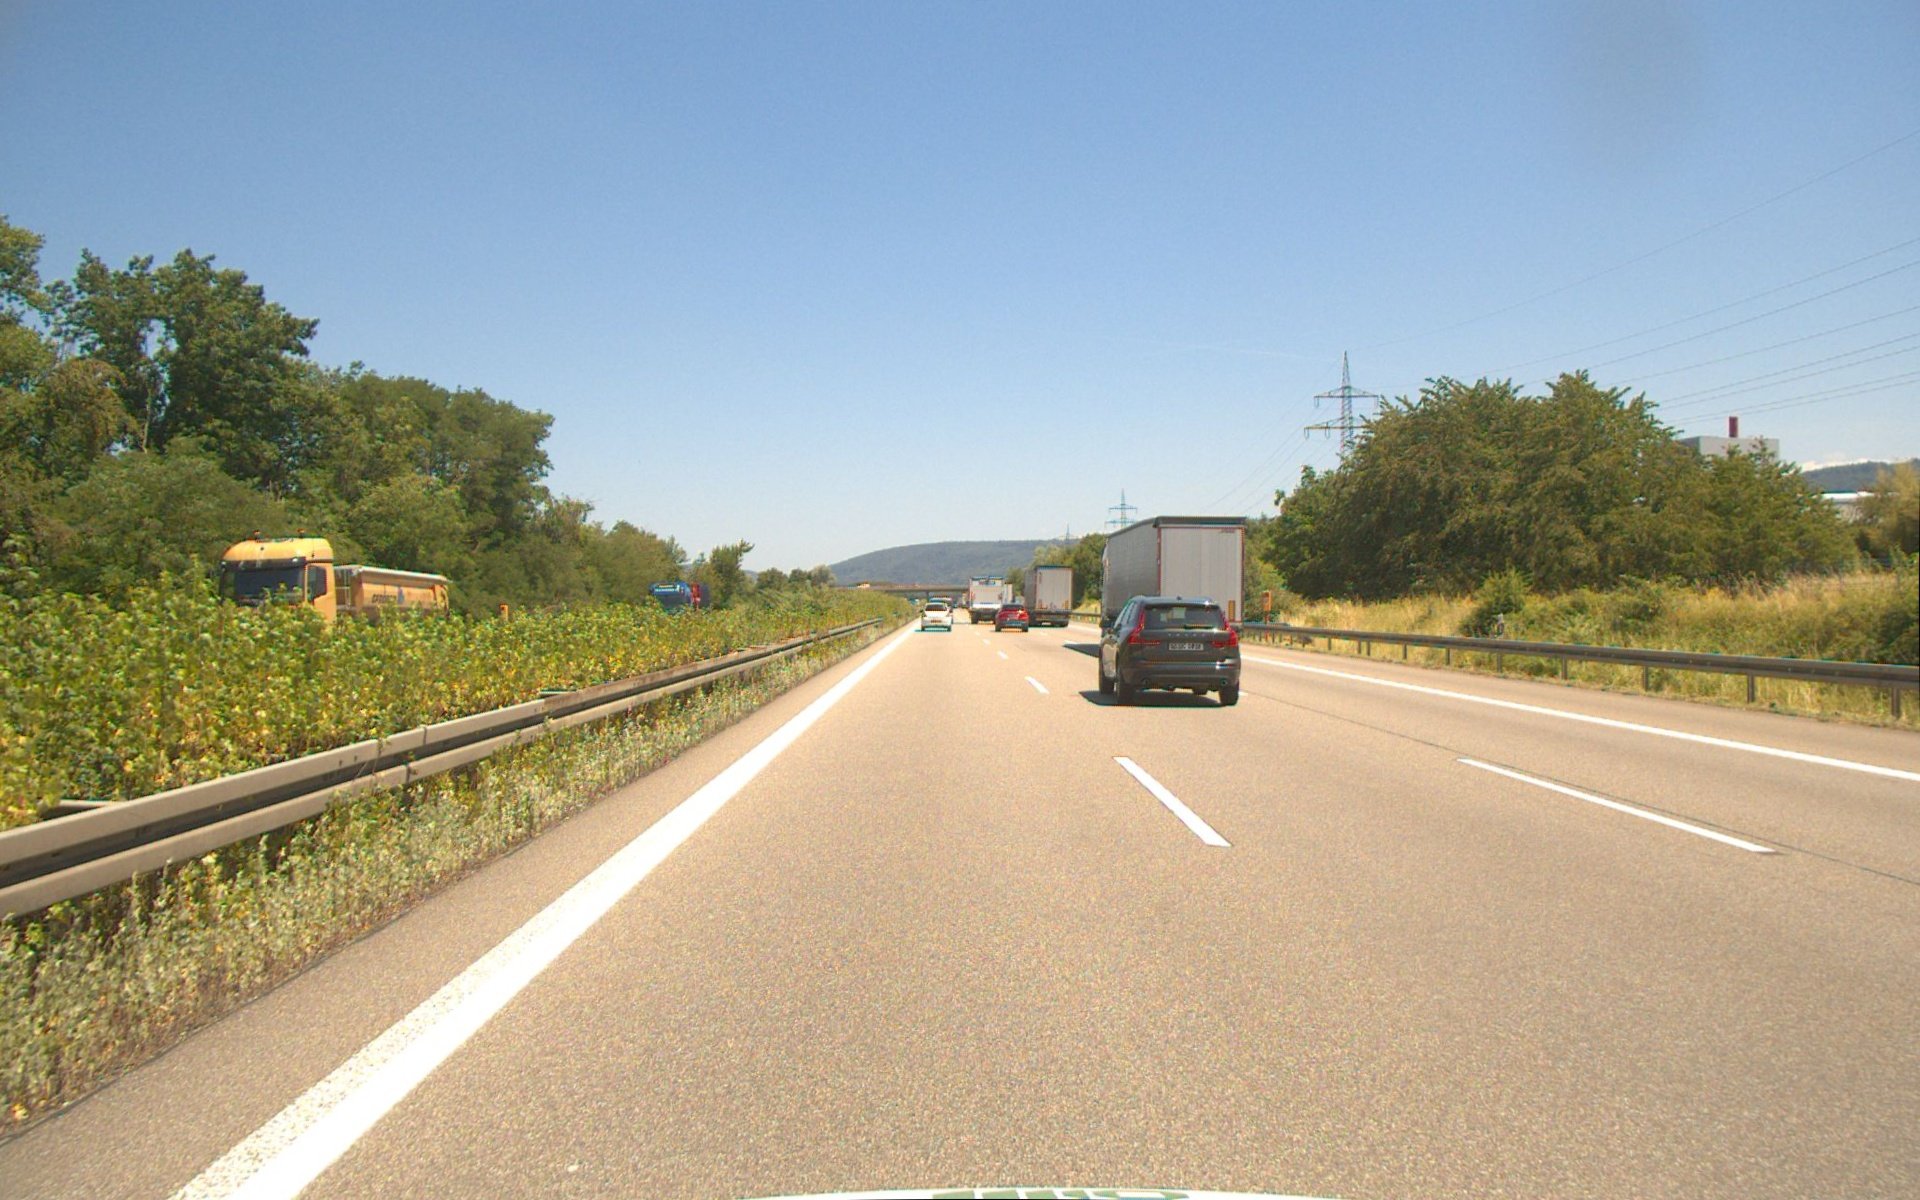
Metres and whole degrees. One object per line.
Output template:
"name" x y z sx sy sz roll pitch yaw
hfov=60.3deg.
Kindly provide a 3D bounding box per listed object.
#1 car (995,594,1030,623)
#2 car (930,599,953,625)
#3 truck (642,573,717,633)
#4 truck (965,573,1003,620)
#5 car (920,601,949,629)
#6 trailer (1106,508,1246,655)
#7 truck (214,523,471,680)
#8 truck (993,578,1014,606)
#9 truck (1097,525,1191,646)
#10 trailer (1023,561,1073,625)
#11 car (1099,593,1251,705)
"car" 2.882 0.484 91.622 1.766 1.572 3.999 0 0 -1
"car" -1.394 0.907 123.026 1.725 1.883 3.999 0 0 -1
"truck" -17.674 0.215 105.132 2.731 3.492 11.979 -2 0 -1
"truck" 1.794 -0.226 126.667 2.726 3.432 8.126 0 0 -1
"car" -1.410 0.821 91.138 1.575 1.493 3.999 0 0 -1
"trailer" 6.706 -0.508 53.470 2.680 4.178 13.119 0 0 -1
"truck" -17.101 0.015 47.051 2.841 3.770 11.896 -3 0 -1
"truck" 5.390 -0.972 204.489 2.176 3.265 10.382 -1 0 -1
"truck" 6.630 -0.492 60.448 2.680 4.192 6.123 0 0 -1
"trailer" 6.183 -0.447 117.690 2.732 4.237 13.573 -1 0 0
"car" 3.359 0.731 26.528 1.835 1.652 4.003 0 0 -1
